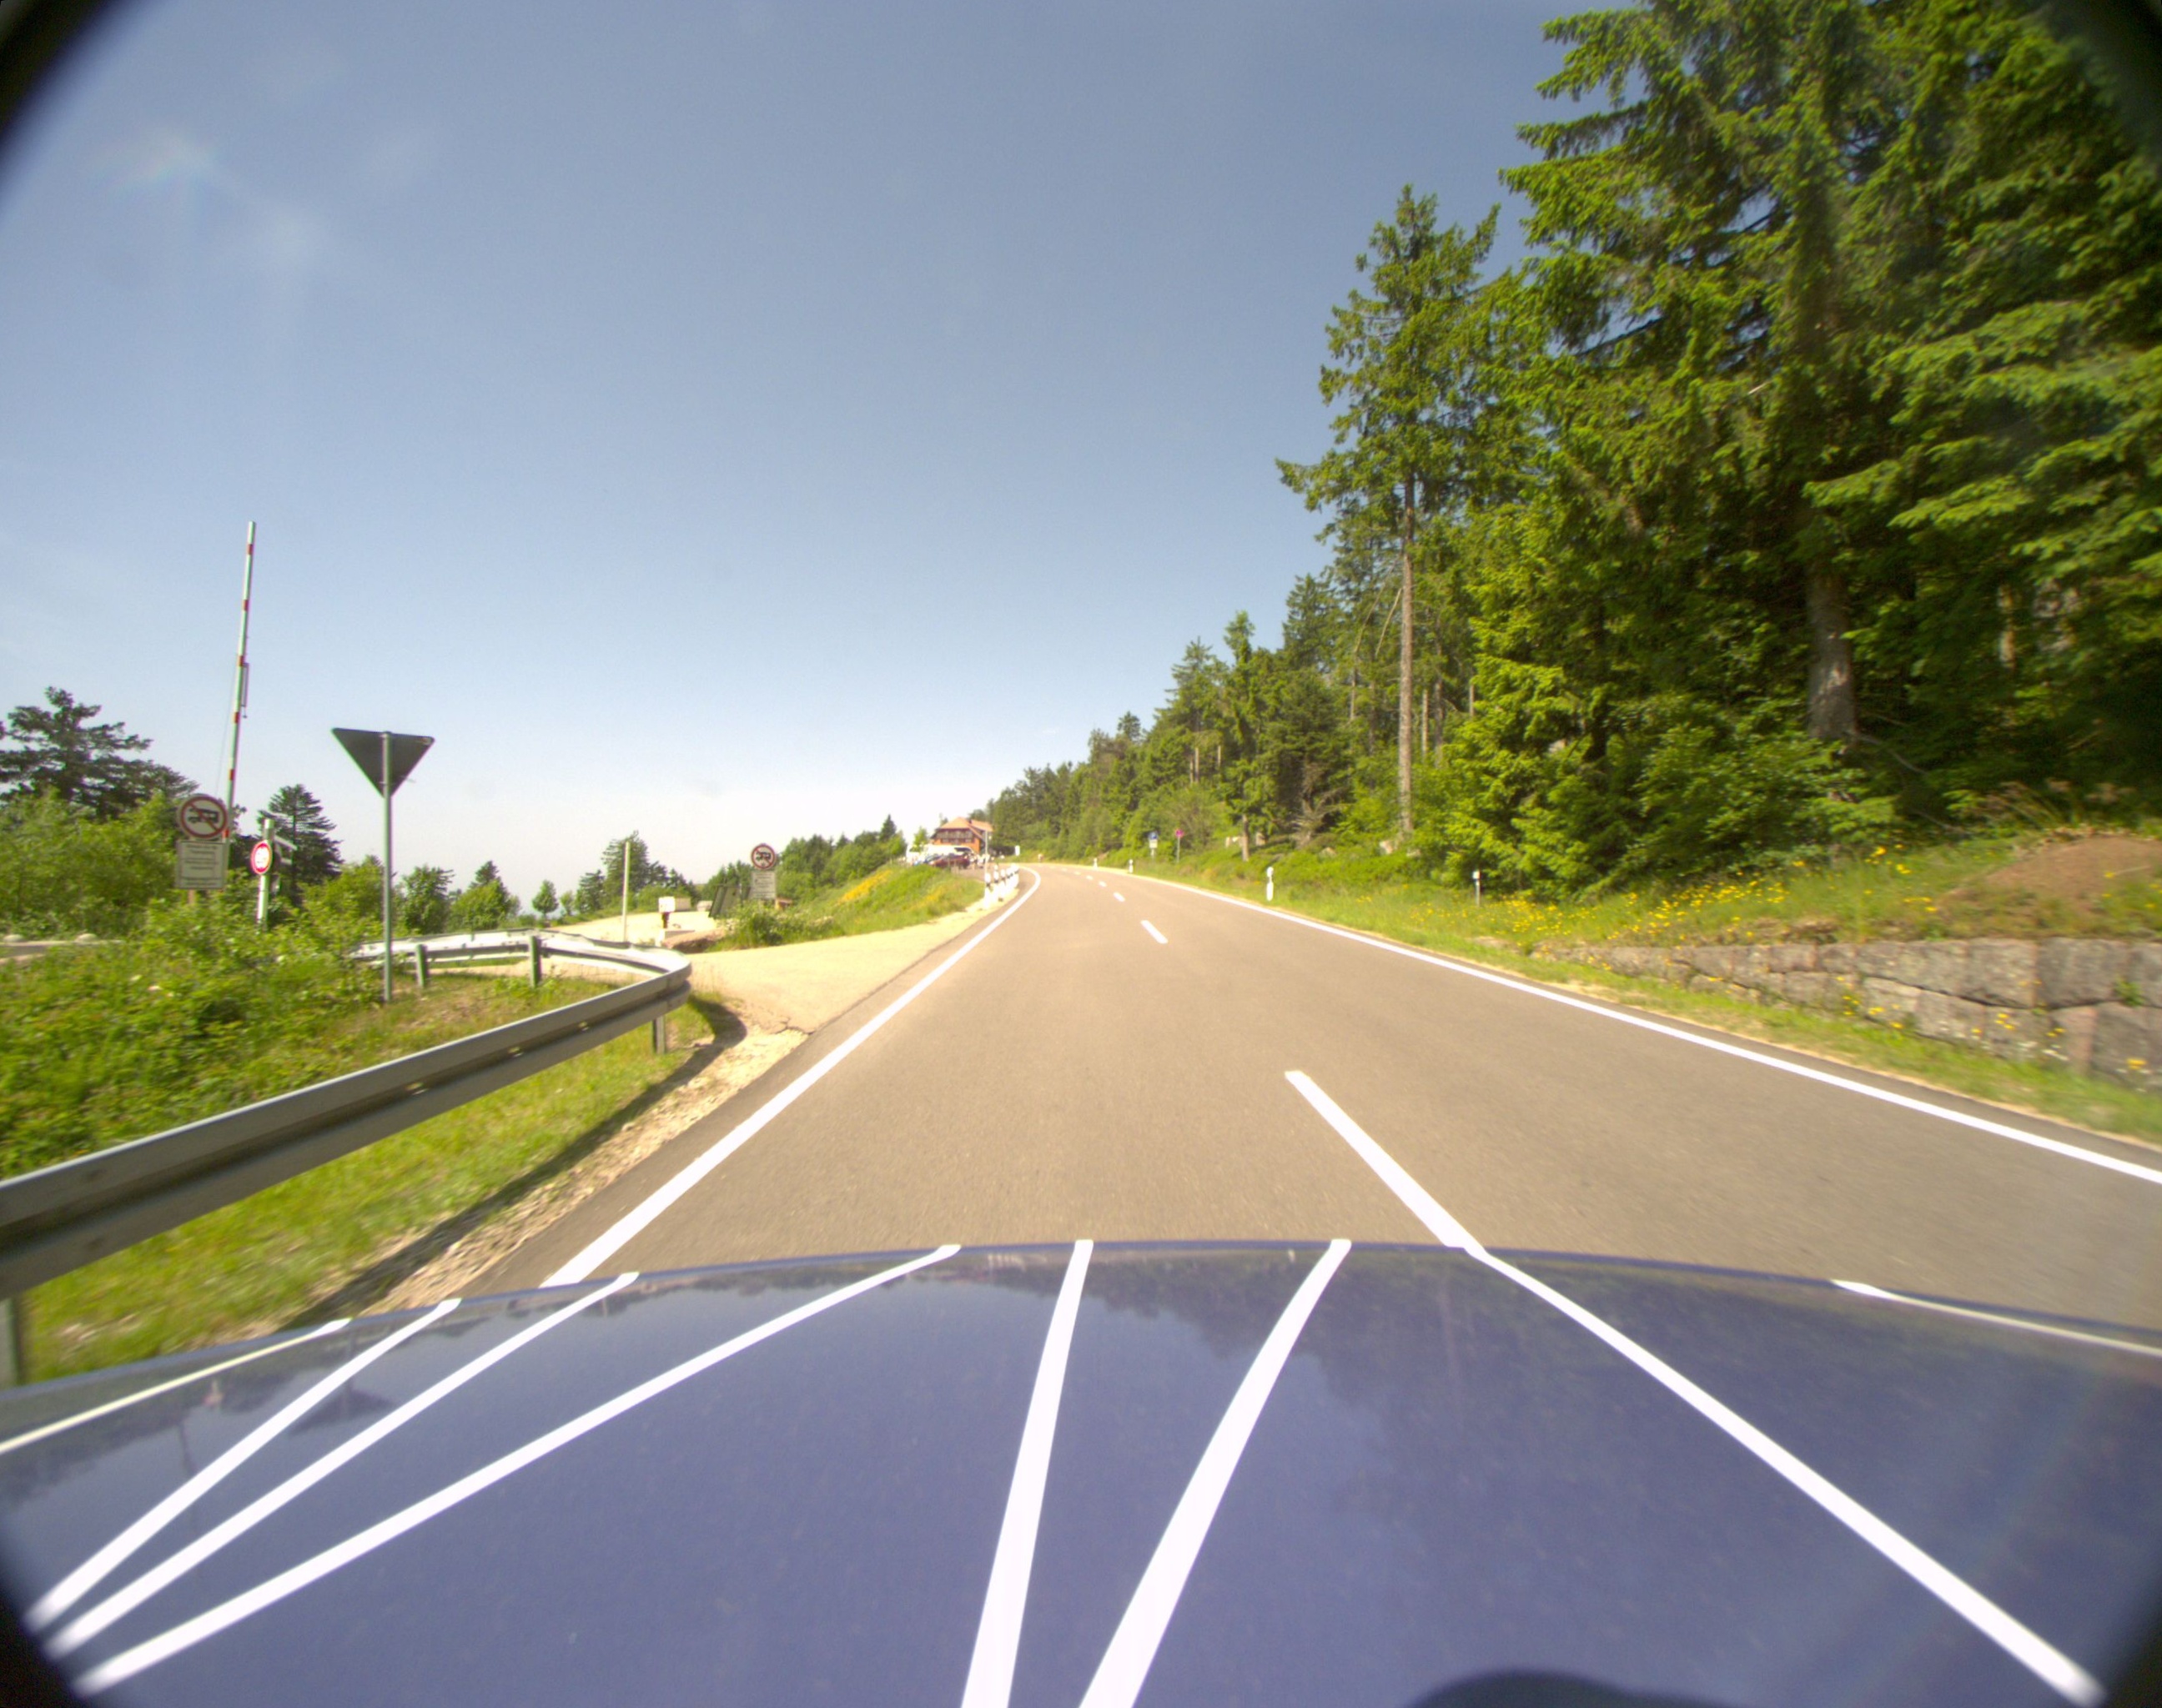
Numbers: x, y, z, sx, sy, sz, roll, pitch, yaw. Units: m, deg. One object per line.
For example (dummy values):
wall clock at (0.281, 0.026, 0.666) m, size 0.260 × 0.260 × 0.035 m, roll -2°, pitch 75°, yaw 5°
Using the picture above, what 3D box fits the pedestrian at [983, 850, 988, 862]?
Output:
pedestrian at (-14.280, 0.286, 113.369) m, size 0.666 × 1.731 × 0.894 m, roll 0°, pitch 0°, yaw 1°

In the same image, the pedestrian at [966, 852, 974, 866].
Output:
pedestrian at (-12.425, 0.537, 85.104) m, size 0.618 × 1.577 × 0.736 m, roll 0°, pitch -1°, yaw 7°

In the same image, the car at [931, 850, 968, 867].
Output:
car at (-14.432, 0.490, 83.274) m, size 3.831 × 1.651 × 1.650 m, roll -2°, pitch 1°, yaw -17°

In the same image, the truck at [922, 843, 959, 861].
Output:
truck at (-24.499, -0.326, 132.401) m, size 6.086 × 3.177 × 2.529 m, roll 0°, pitch 0°, yaw -13°

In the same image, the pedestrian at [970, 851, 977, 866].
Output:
pedestrian at (-11.850, 0.476, 84.009) m, size 0.654 × 1.650 × 0.688 m, roll 1°, pitch -1°, yaw 1°

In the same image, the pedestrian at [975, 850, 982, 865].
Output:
pedestrian at (-11.492, 0.426, 85.499) m, size 0.718 × 1.682 × 0.618 m, roll -1°, pitch 1°, yaw -5°

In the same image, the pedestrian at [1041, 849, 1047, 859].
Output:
pedestrian at (-6.426, 0.062, 131.856) m, size 0.685 × 1.736 × 0.824 m, roll -1°, pitch 1°, yaw -20°

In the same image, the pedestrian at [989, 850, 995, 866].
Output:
pedestrian at (-10.058, 0.442, 85.501) m, size 0.619 × 1.765 × 0.723 m, roll -1°, pitch 1°, yaw -5°

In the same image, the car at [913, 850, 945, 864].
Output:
car at (-20.135, 0.383, 100.912) m, size 4.002 × 1.637 × 1.598 m, roll -3°, pitch 1°, yaw -16°

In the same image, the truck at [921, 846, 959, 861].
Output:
truck at (-23.875, -0.073, 128.996) m, size 6.283 × 2.575 × 2.338 m, roll 0°, pitch 0°, yaw -12°

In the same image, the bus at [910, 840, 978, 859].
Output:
bus at (-26.630, -0.769, 147.478) m, size 12.892 × 3.556 × 2.836 m, roll 0°, pitch 0°, yaw -12°

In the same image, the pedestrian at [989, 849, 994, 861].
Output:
pedestrian at (-13.354, 0.162, 113.319) m, size 0.755 × 1.750 × 0.775 m, roll 0°, pitch 0°, yaw 1°
